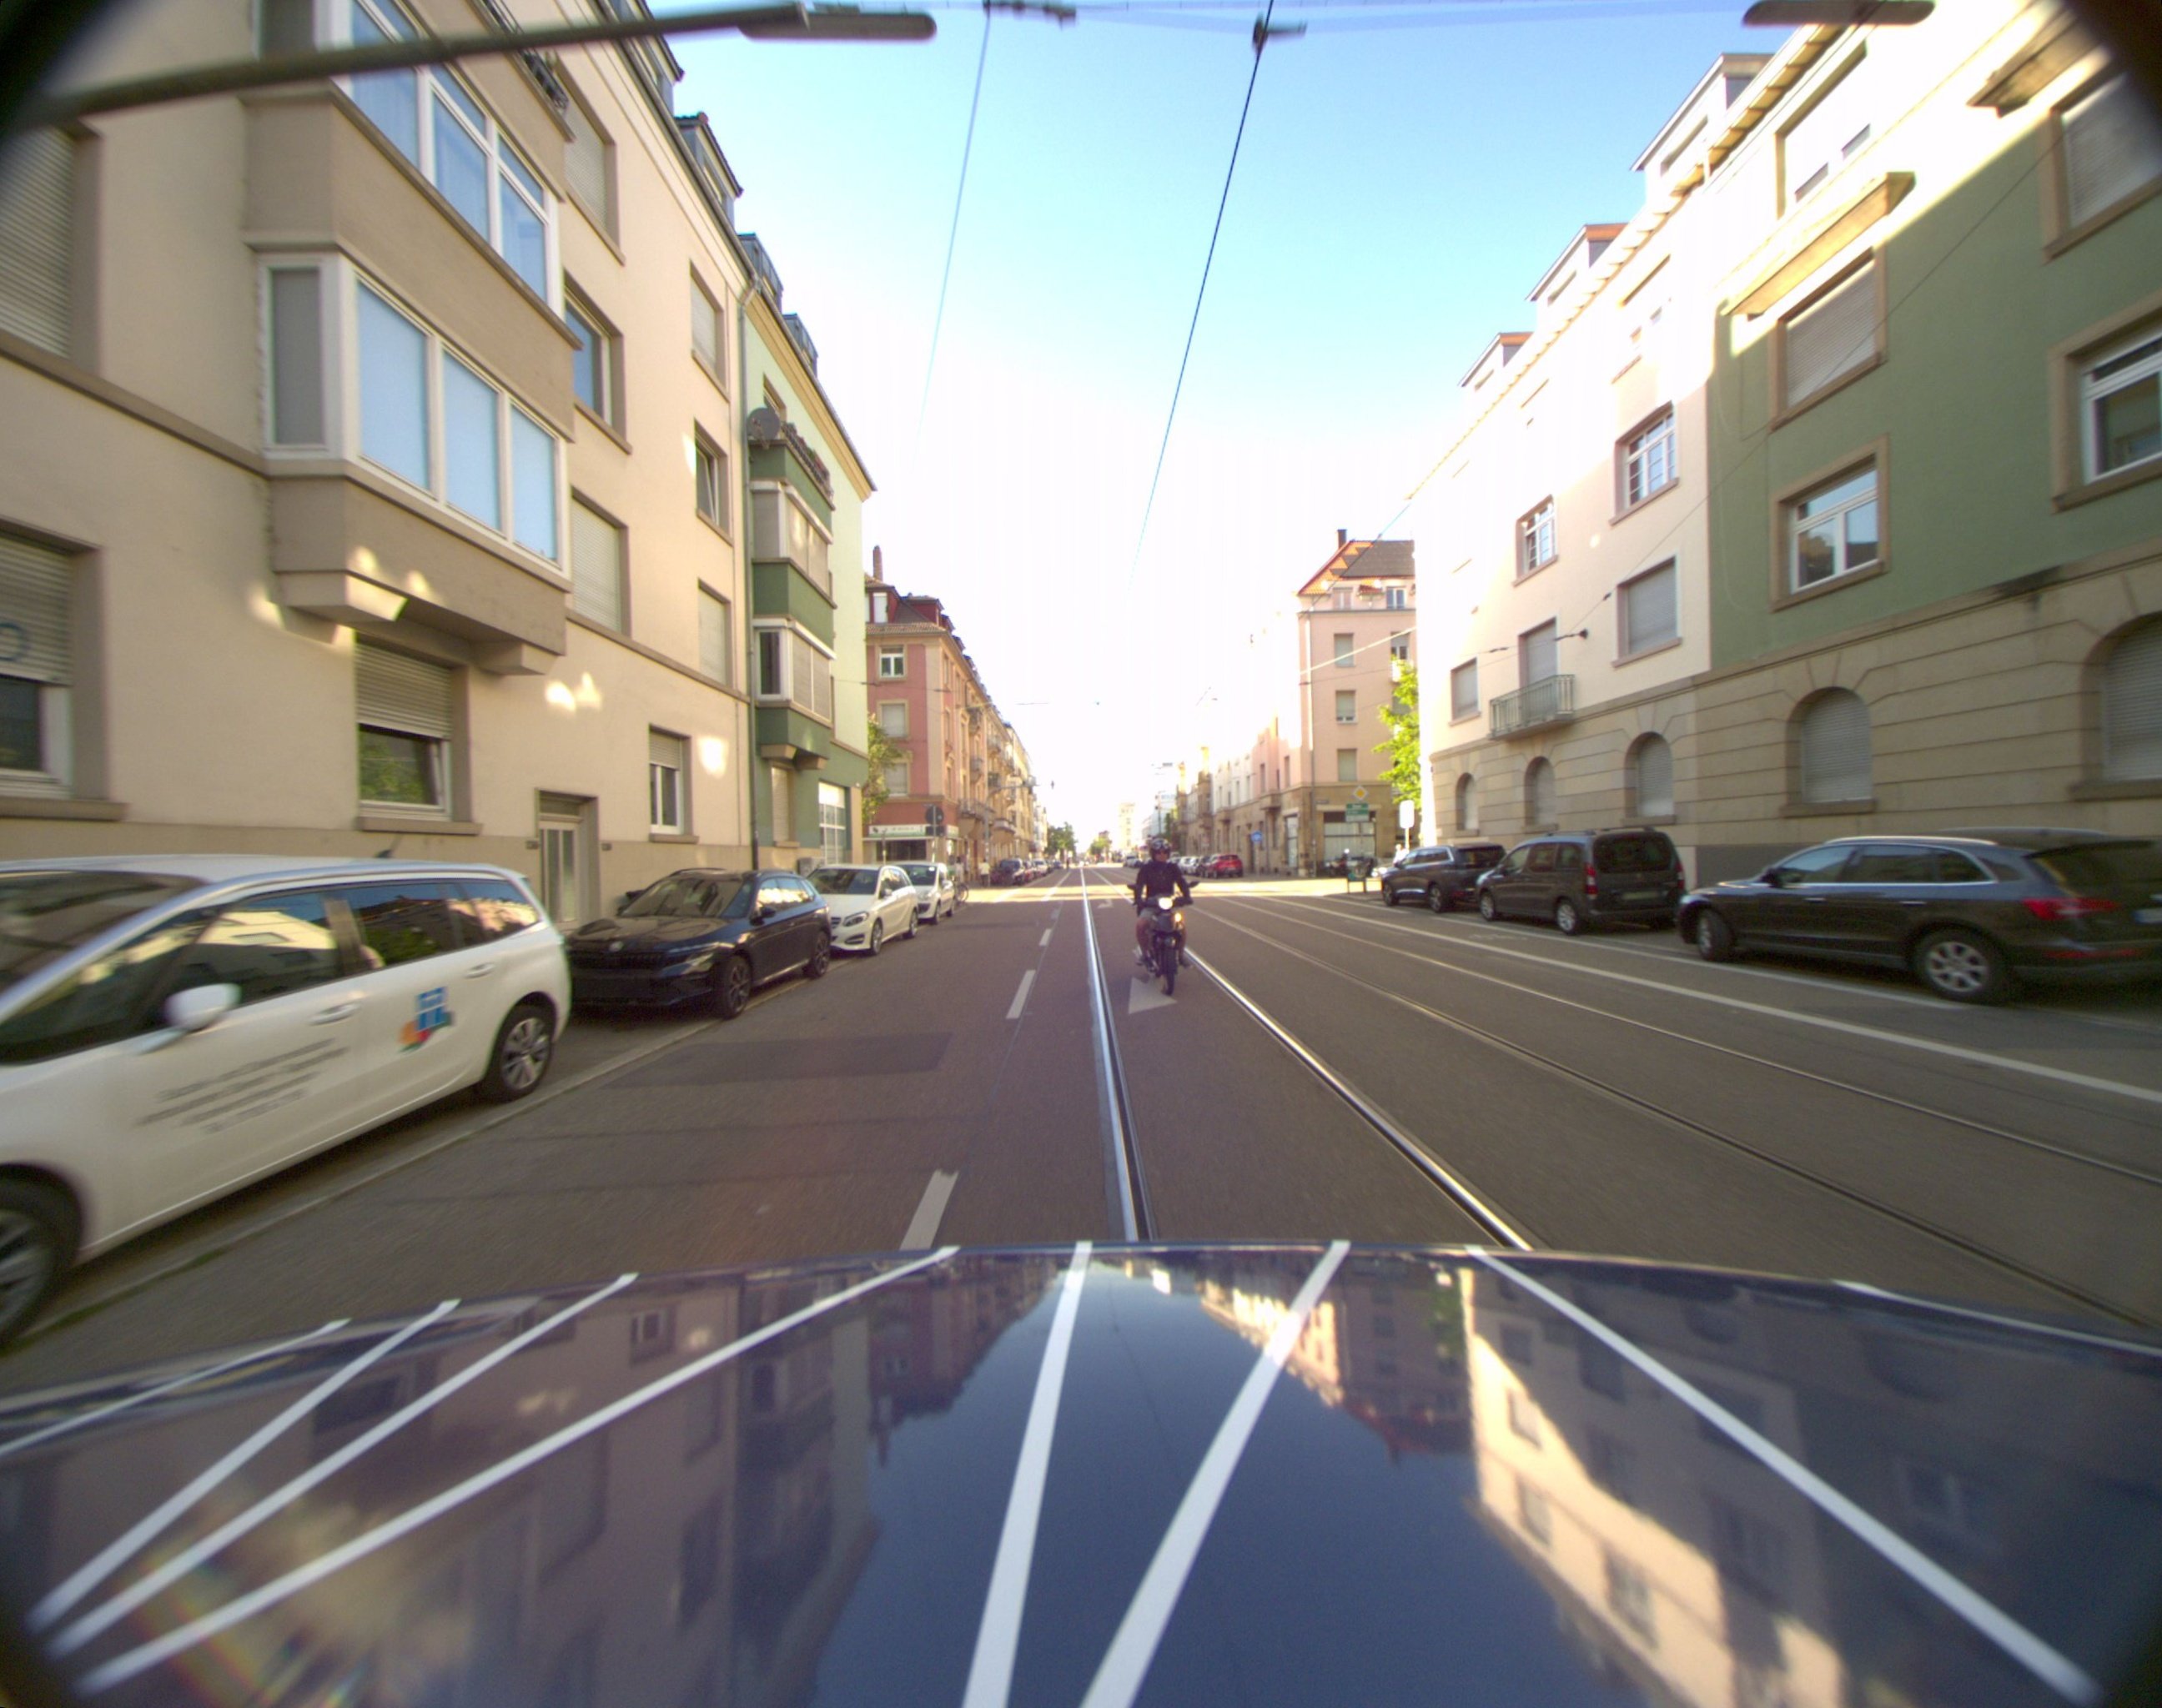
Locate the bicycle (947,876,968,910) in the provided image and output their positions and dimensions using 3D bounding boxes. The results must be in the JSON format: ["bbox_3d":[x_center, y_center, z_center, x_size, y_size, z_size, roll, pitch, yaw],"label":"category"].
[{"bbox_3d":[-4.079,1.269,25.213,0.353,1.038,1.728,-1,0,2],"label":"bicycle"}]

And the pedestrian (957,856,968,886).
[{"bbox_3d":[-6.480,0.928,41.653,0.514,1.677,0.448,-1,0,0],"label":"pedestrian"}]

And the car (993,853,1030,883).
[{"bbox_3d":[-4.281,0.848,47.366,1.757,1.725,4.506,2,0,1],"label":"car"}]

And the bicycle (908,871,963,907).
[{"bbox_3d":[-4.901,1.188,25.697,1.727,1.148,0.469,2,0,1],"label":"bicycle"}]

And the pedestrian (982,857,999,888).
[{"bbox_3d":[-4.847,0.987,40.889,0.731,1.624,0.703,-4,2,0],"label":"pedestrian"}]

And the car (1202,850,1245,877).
[{"bbox_3d":[9.390,0.602,50.305,1.788,1.597,4.396,-3,0,-2],"label":"car"}]

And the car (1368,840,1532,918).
[{"bbox_3d":[9.307,0.583,19.693,1.788,1.680,4.667,-3,0,-2],"label":"car"}]

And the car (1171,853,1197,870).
[{"bbox_3d":[9.587,0.691,70.989,1.788,1.514,4.359,-3,0,-1],"label":"car"}]

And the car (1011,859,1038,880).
[{"bbox_3d":[-4.339,1.148,58.630,1.658,1.504,4.474,-1,0,0],"label":"car"}]

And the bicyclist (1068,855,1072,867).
[{"bbox_3d":[-1.536,0.976,110.429,0.509,1.692,0.845,-2,0,0],"label":"bicyclist"}]

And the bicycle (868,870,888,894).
[{"bbox_3d":[-10.511,1.439,39.423,0.545,1.148,1.728,-1,0,0],"label":"bicycle"}]

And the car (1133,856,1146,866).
[{"bbox_3d":[9.540,1.176,123.692,1.787,1.437,4.841,-3,0,0],"label":"car"}]

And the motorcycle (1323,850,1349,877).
[{"bbox_3d":[13.906,0.523,41.422,0.948,1.410,2.029,-1,0,30],"label":"motorcycle"}]

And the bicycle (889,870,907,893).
[{"bbox_3d":[-9.478,1.420,39.413,0.469,1.148,1.728,-1,0,0],"label":"bicycle"}]

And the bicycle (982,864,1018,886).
[{"bbox_3d":[-4.592,1.176,43.004,1.964,1.220,0.527,0,0,1],"label":"bicycle"}]

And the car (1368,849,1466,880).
[{"bbox_3d":[16.360,0.509,37.120,3.997,1.385,1.748,-1,-1,0],"label":"car"}]

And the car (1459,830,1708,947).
[{"bbox_3d":[9.293,0.573,14.620,1.787,1.805,4.528,-3,0,1],"label":"car"}]

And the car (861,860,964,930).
[{"bbox_3d":[-4.368,1.010,20.269,1.788,1.622,4.000,-1,0,1],"label":"car"}]

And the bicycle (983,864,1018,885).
[{"bbox_3d":[-4.609,1.175,43.565,1.964,1.220,0.527,0,0,1],"label":"bicycle"}]

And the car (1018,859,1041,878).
[{"bbox_3d":[-4.302,1.181,63.584,1.658,1.474,4.474,-1,0,-1],"label":"car"}]

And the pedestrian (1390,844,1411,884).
[{"bbox_3d":[13.990,0.424,33.272,0.608,1.702,0.732,-1,0,0],"label":"pedestrian"}]

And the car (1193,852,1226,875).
[{"bbox_3d":[9.295,0.675,55.034,1.788,1.543,3.019,-3,0,0],"label":"car"}]

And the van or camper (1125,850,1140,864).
[{"bbox_3d":[9.809,0.529,145.583,2.177,2.452,6.232,-3,0,-1],"label":"van or camper"}]

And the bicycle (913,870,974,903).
[{"bbox_3d":[-5.074,1.181,28.167,2.091,1.148,0.848,1,0,1],"label":"bicycle"}]

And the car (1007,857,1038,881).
[{"bbox_3d":[-4.103,1.007,53.952,1.757,1.585,3.730,-1,0,1],"label":"car"}]

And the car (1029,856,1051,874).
[{"bbox_3d":[-4.050,1.100,74.912,1.847,1.681,4.505,-1,0,0],"label":"car"}]

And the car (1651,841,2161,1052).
[{"bbox_3d":[9.055,0.746,8.453,1.788,1.617,4.608,-3,0,-2],"label":"car"}]

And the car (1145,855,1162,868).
[{"bbox_3d":[9.474,0.929,99.369,1.787,1.556,4.611,-3,0,2],"label":"car"}]

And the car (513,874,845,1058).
[{"bbox_3d":[-4.405,1.101,9.229,1.659,1.557,4.338,-1,0,1],"label":"car"}]

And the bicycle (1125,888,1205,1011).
[{"bbox_3d":[0.926,1.037,8.790,0.767,1.191,1.752,-1,0,2],"label":"bicycle"}]

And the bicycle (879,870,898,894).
[{"bbox_3d":[-9.976,1.435,39.420,0.469,1.148,1.728,-1,0,0],"label":"bicycle"}]

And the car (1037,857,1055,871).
[{"bbox_3d":[-4.214,1.162,91.993,1.863,1.656,4.562,-1,0,1],"label":"car"}]

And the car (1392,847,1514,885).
[{"bbox_3d":[15.584,0.517,31.997,4.228,1.456,1.783,-1,-1,-1],"label":"car"}]

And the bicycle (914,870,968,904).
[{"bbox_3d":[-5.054,1.192,27.483,1.847,1.148,0.469,2,0,1],"label":"bicycle"}]

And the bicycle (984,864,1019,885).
[{"bbox_3d":[-4.613,1.174,44.137,1.964,1.220,0.527,0,0,1],"label":"bicycle"}]

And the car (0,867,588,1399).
[{"bbox_3d":[-4.572,0.986,3.623,1.659,1.741,4.601,-1,0,-4],"label":"car"}]

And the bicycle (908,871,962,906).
[{"bbox_3d":[-5.028,1.186,26.245,1.727,1.148,0.469,2,0,1],"label":"bicycle"}]

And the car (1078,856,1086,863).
[{"bbox_3d":[0.255,1.232,180.757,1.971,1.577,4.000,-2,0,0],"label":"car"}]

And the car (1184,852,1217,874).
[{"bbox_3d":[9.515,0.717,60.742,1.788,1.612,4.178,-3,0,-2],"label":"car"}]

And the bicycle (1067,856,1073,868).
[{"bbox_3d":[-1.611,1.154,110.462,0.775,1.700,1.937,-2,0,0],"label":"bicycle"}]

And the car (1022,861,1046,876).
[{"bbox_3d":[-4.263,1.266,68.861,1.658,1.241,4.505,-1,0,3],"label":"car"}]

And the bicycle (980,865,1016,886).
[{"bbox_3d":[-4.630,1.210,42.425,1.928,1.154,0.527,0,0,1],"label":"bicycle"}]

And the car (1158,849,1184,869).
[{"bbox_3d":[9.528,0.539,81.050,1.978,1.937,5.251,-3,0,-1],"label":"car"}]

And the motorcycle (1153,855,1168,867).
[{"bbox_3d":[9.734,0.843,92.931,0.884,1.343,1.961,-2,0,33],"label":"motorcycle"}]

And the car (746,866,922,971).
[{"bbox_3d":[-4.352,1.049,14.153,1.788,1.567,4.326,-1,0,1],"label":"car"}]

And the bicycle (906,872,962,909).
[{"bbox_3d":[-4.825,1.203,25.016,1.727,1.148,0.469,2,0,1],"label":"bicycle"}]

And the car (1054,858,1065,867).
[{"bbox_3d":[-3.875,1.488,135.266,1.714,1.399,4.358,1,0,1],"label":"car"}]

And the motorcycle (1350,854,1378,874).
[{"bbox_3d":[15.450,0.558,41.453,2.039,1.029,0.555,-1,0,-44],"label":"motorcycle"}]

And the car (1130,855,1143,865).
[{"bbox_3d":[9.485,1.037,129.476,1.788,1.472,4.699,-3,0,0],"label":"car"}]

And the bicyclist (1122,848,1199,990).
[{"bbox_3d":[0.890,0.709,8.772,0.774,1.531,0.939,-1,0,1],"label":"bicyclist"}]

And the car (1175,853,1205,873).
[{"bbox_3d":[9.414,0.747,65.947,1.776,1.538,4.365,-3,0,-2],"label":"car"}]
